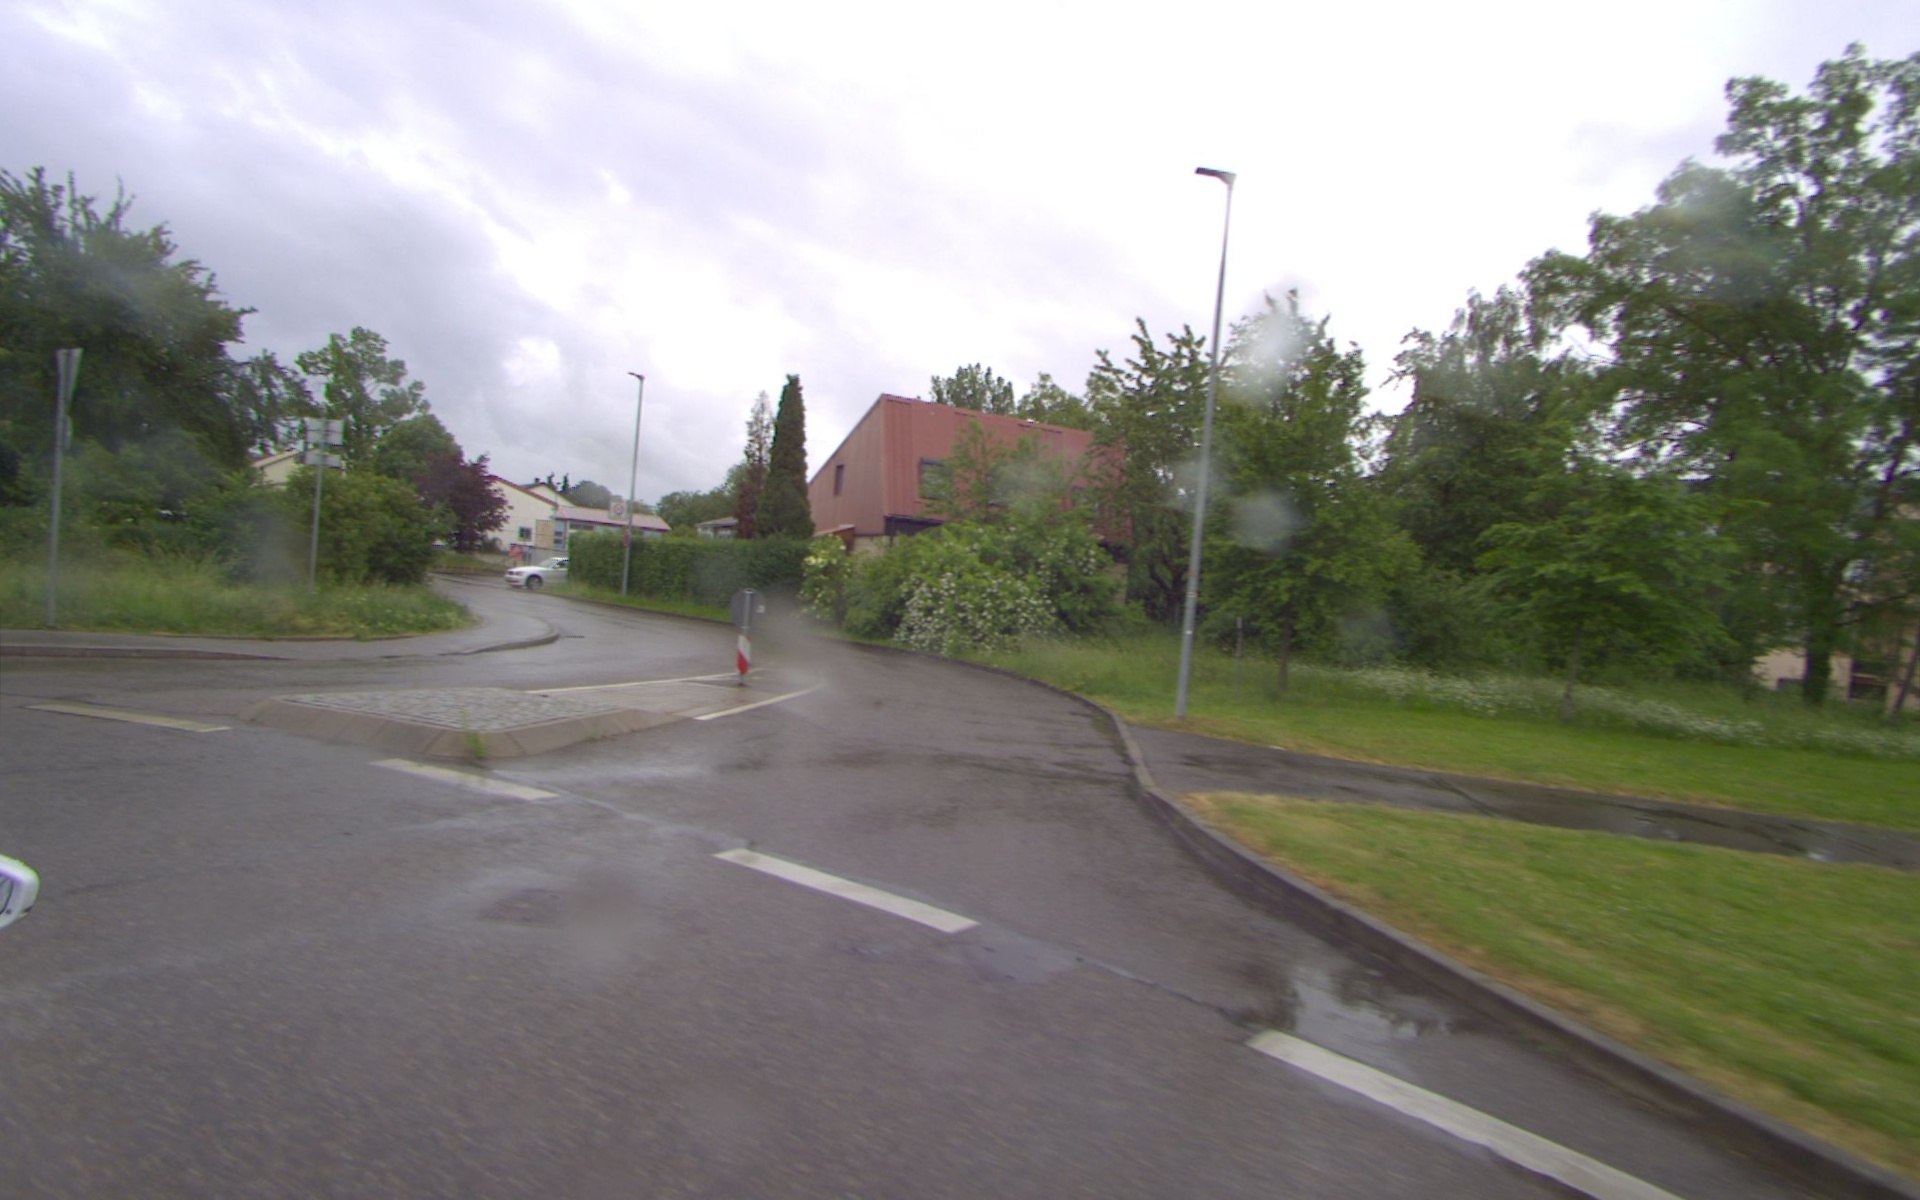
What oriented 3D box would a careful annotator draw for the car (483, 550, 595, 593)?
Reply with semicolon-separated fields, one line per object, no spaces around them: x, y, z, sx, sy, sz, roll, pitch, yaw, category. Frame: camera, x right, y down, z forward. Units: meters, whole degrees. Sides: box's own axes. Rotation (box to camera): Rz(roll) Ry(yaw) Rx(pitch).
-17.857;-1.181;42.742;3.973;1.391;1.762;5;1;-45;car
